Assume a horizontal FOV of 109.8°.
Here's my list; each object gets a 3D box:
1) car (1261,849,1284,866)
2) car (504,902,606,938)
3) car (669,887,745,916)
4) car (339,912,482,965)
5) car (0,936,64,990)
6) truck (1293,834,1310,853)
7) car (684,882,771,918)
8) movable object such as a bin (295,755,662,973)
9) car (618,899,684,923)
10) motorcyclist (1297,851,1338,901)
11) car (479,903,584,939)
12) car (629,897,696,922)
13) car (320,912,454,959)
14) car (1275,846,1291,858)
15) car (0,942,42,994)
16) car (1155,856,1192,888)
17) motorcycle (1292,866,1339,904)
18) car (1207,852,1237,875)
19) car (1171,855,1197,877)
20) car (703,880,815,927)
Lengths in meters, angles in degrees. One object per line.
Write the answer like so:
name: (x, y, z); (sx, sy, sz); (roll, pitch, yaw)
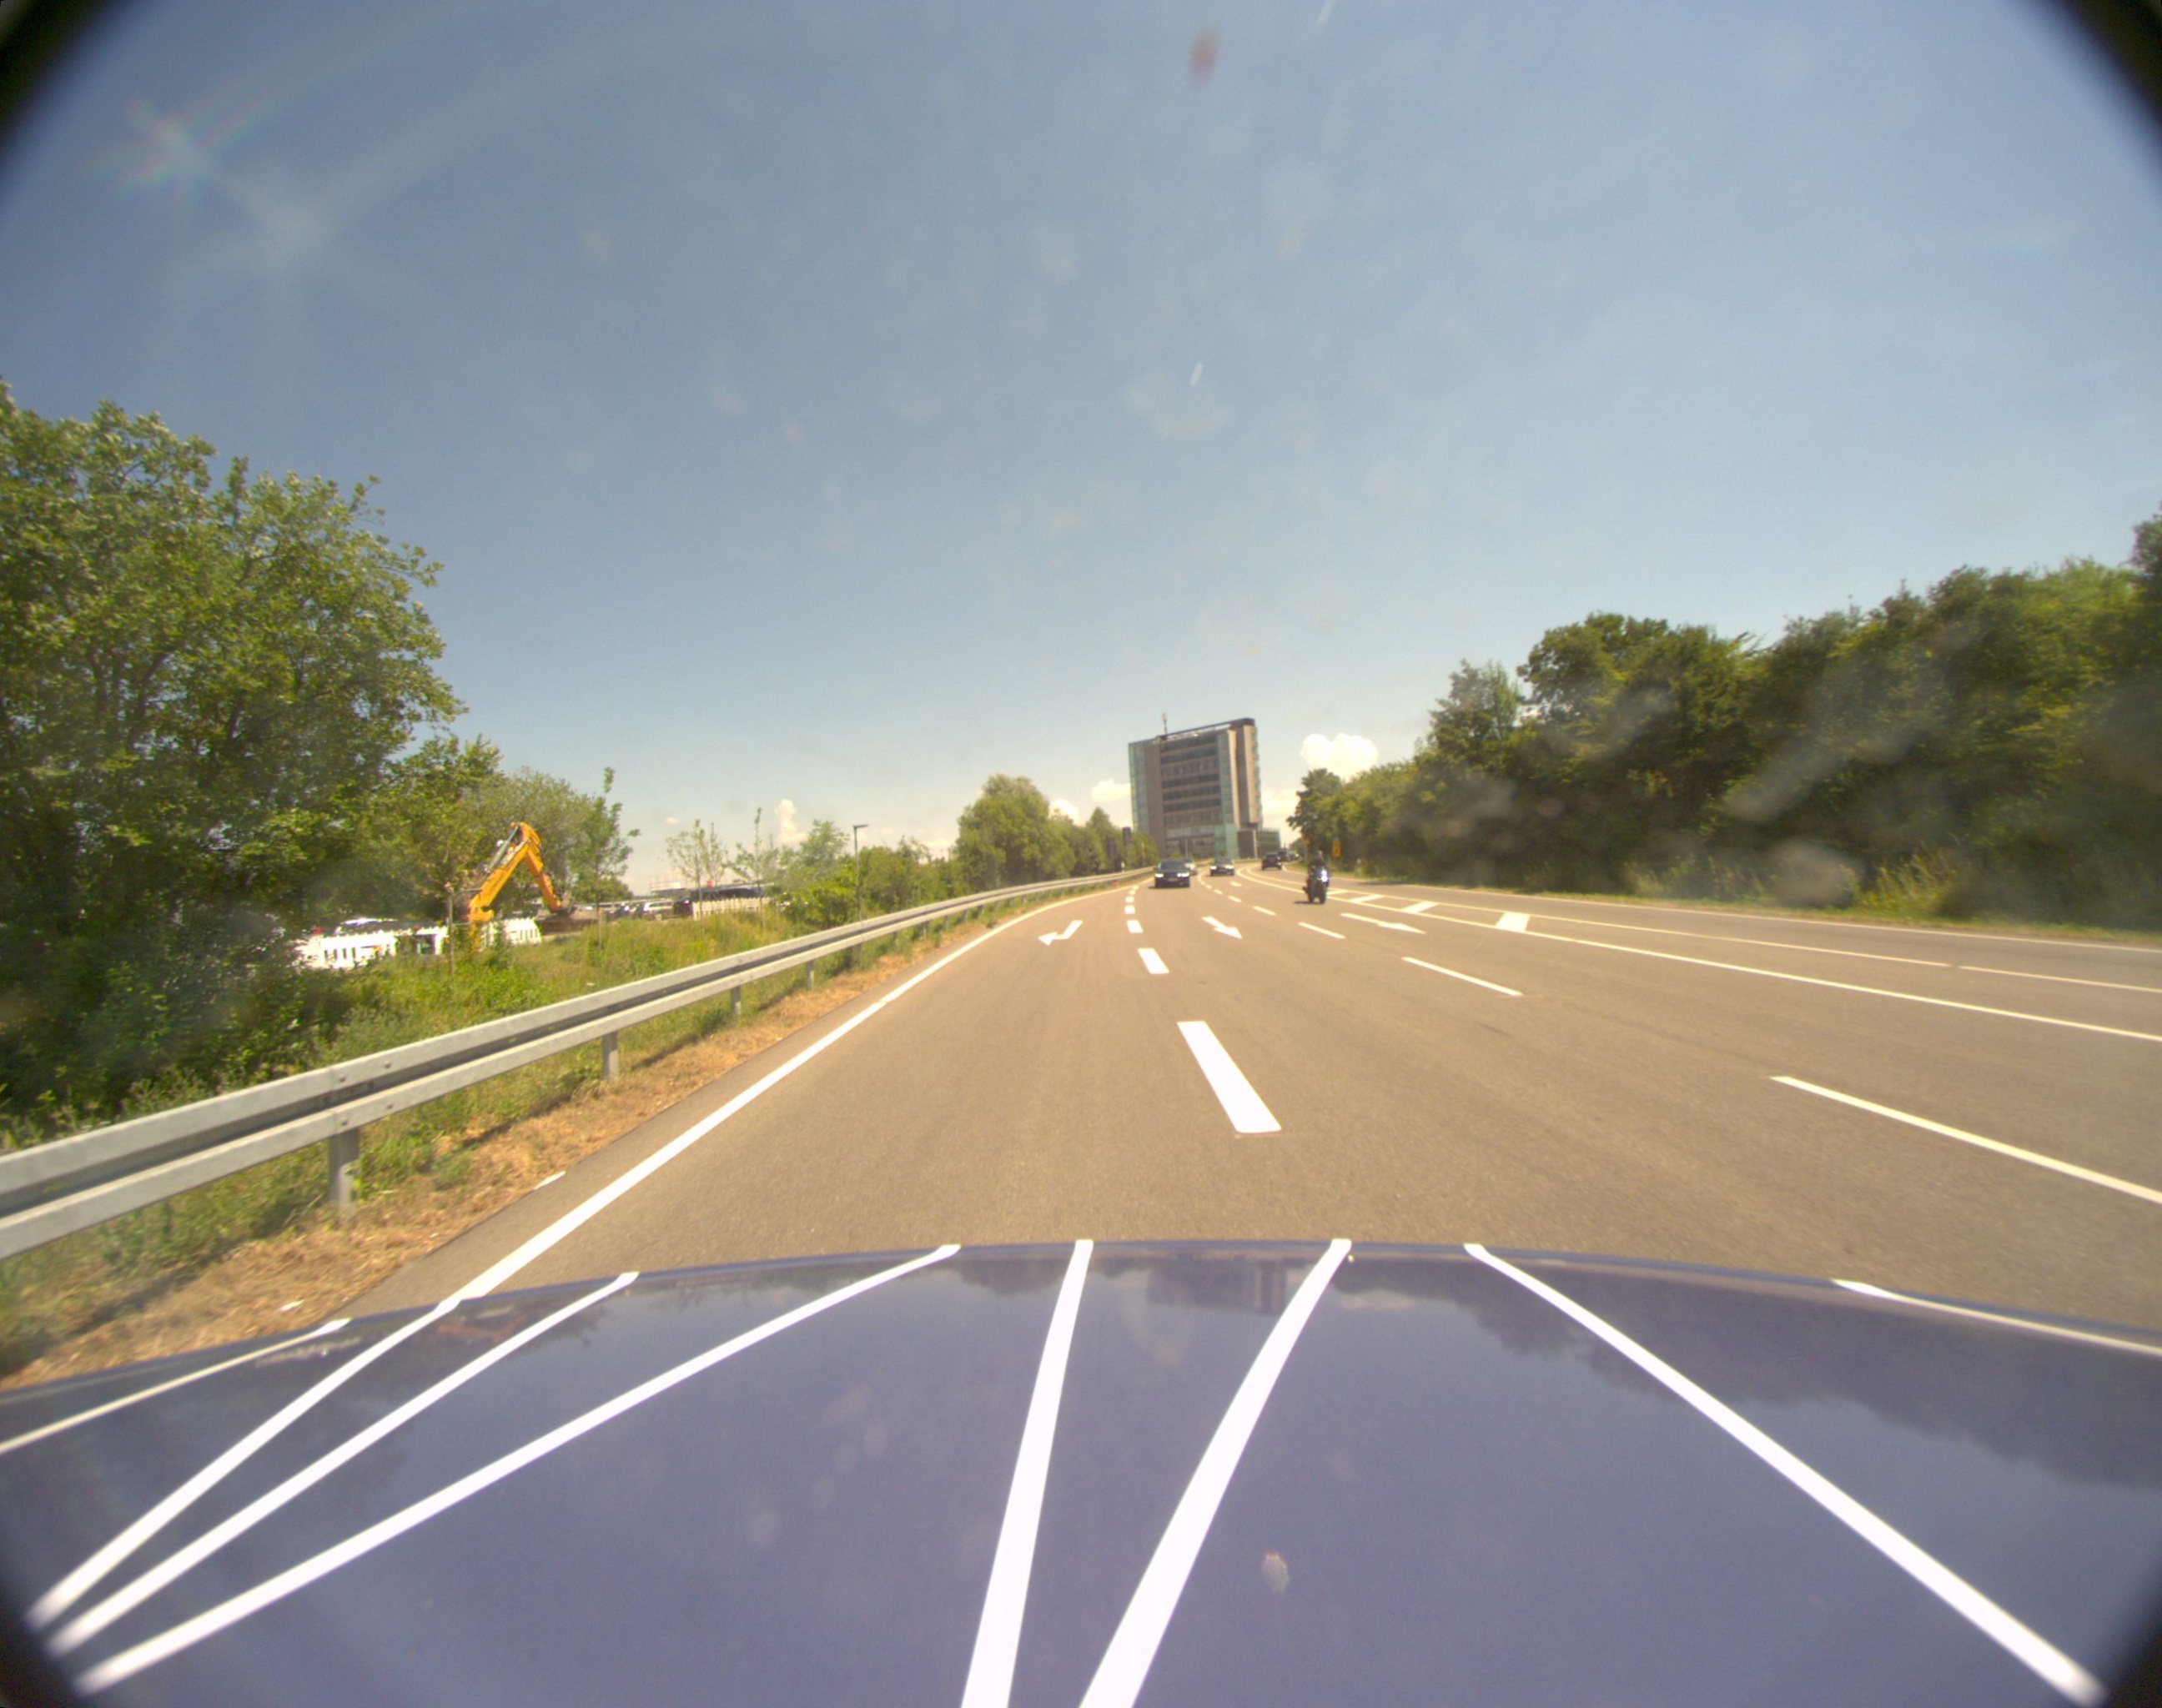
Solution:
car: (18.569, 0.319, 73.824); (1.996, 1.583, 4.686); (-2, 0, 13)
car: (-28.268, 3.503, 40.906); (1.942, 1.559, 4.096); (-3, 0, 40)
car: (-26.449, 3.368, 53.834); (1.943, 1.720, 4.328); (-6, -3, 41)
car: (-27.351, 3.386, 31.089); (1.995, 1.663, 4.008); (-2, 0, 37)
car: (-38.072, 3.847, 25.427); (2.009, 1.627, 4.598); (-3, 0, 43)
truck: (44.004, -2.000, 151.739); (2.873, 3.553, 9.441); (-2, 0, 15)
car: (-24.855, 3.221, 53.582); (1.995, 2.157, 5.164); (-6, -3, 37)
movable object such as a bin: (-17.605, 0.453, 23.539); (3.432, 5.227, 9.235); (-4, -3, 3)
car: (-33.913, 4.487, 59.947); (1.942, 1.559, 4.008); (-3, 0, 38)
motorcyclist: (7.337, 0.674, 23.609); (0.861, 1.479, 1.161); (-1, 0, -3)
car: (-30.500, 3.657, 42.238); (1.942, 1.547, 4.351); (-3, 0, 42)
car: (-32.223, 4.256, 58.576); (1.942, 1.559, 4.008); (-3, 0, 38)
car: (-31.363, 3.632, 34.422); (1.994, 1.624, 4.164); (-2, 0, 38)
car: (32.213, -0.308, 120.962); (1.996, 1.883, 5.111); (-2, 0, 20)
car: (-35.974, 3.736, 23.314); (1.994, 1.499, 4.622); (-2, 0, 42)
car: (4.896, 0.913, 40.128); (1.779, 1.497, 4.564); (-2, -1, 8)
motorcycle: (7.323, 0.945, 23.800); (0.734, 1.131, 2.072); (-1, 0, -3)
car: (10.941, 0.697, 59.135); (2.116, 1.581, 4.453); (-3, 0, 9)
car: (8.711, 1.071, 63.999); (1.932, 1.576, 4.184); (-5, -3, 9)
car: (-15.441, 2.343, 36.532); (4.441, 1.901, 2.066); (-4, -3, 7)
